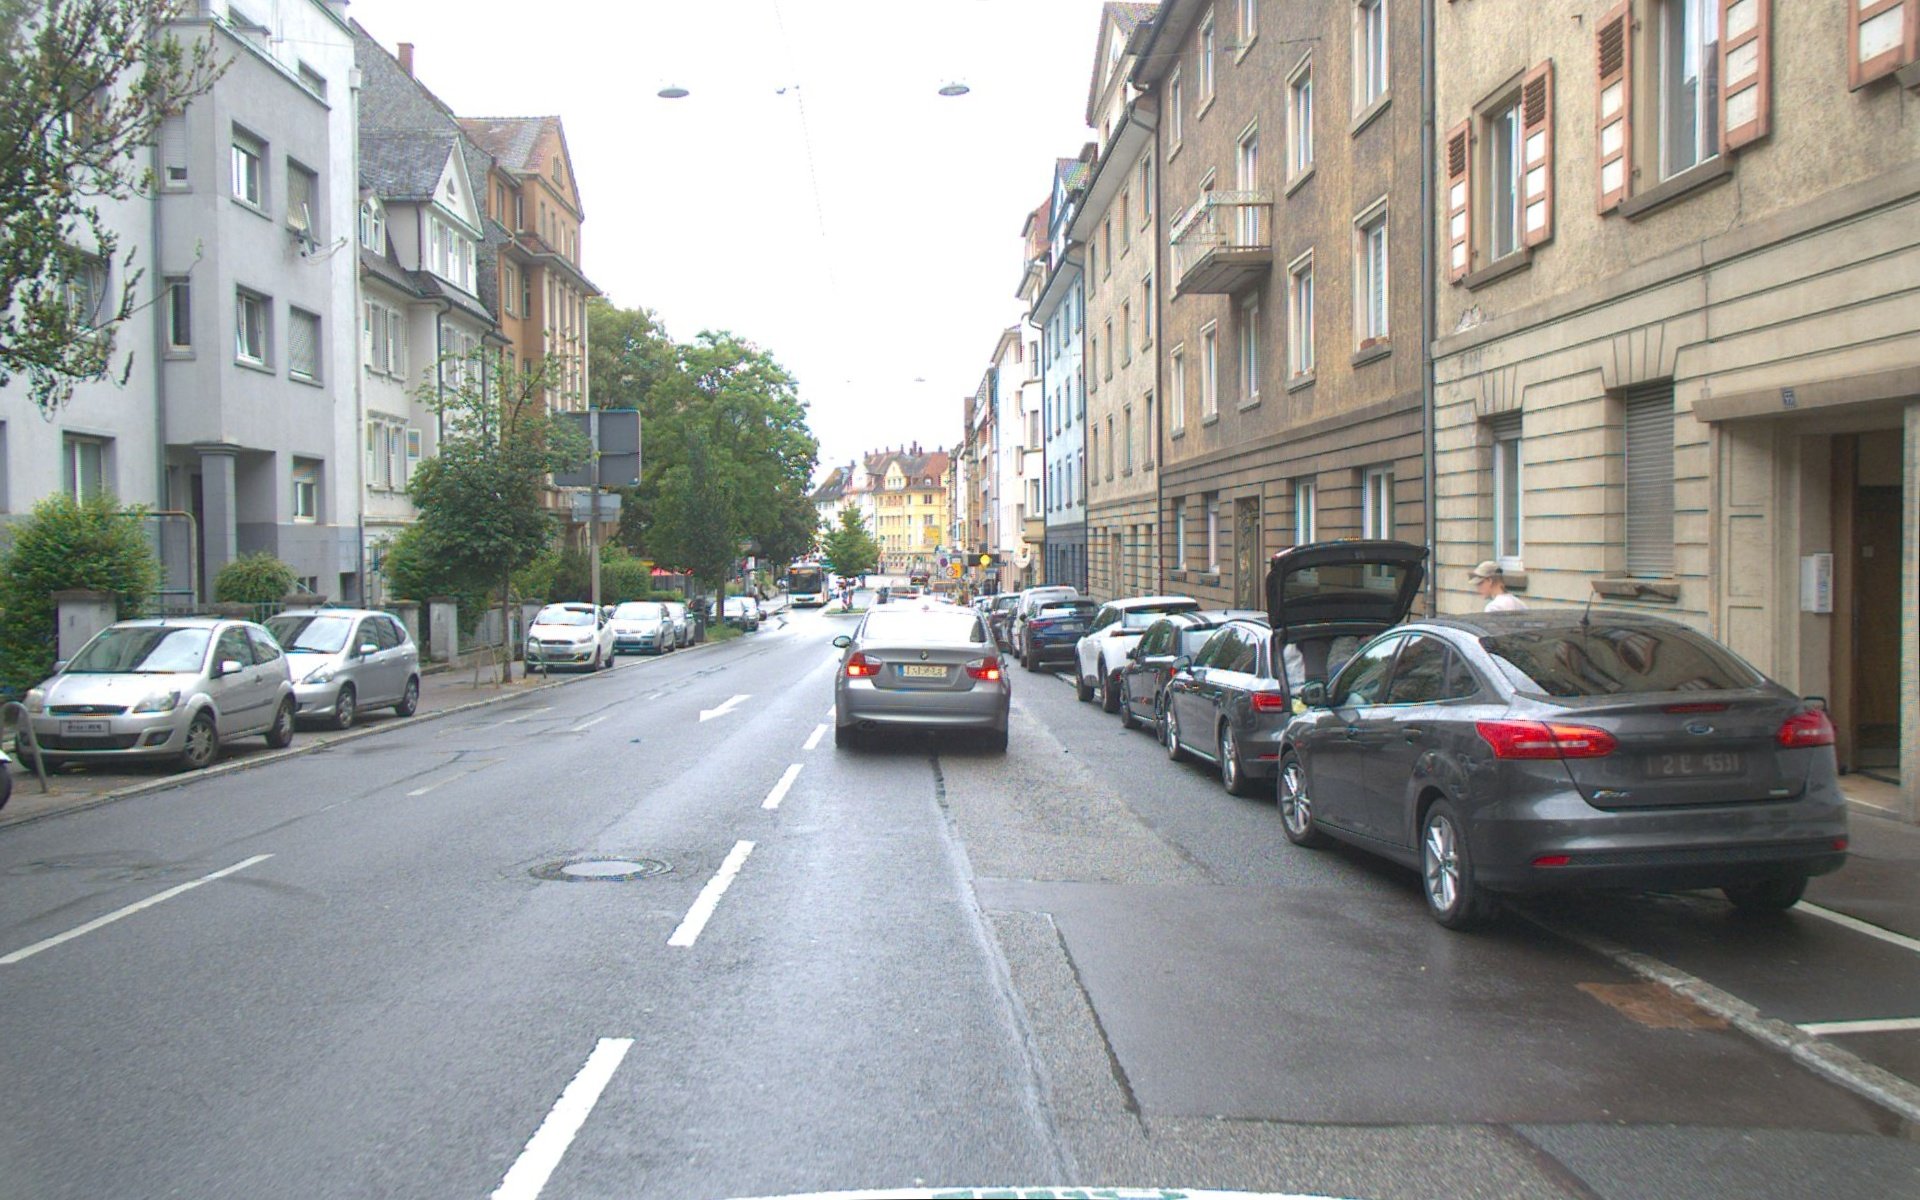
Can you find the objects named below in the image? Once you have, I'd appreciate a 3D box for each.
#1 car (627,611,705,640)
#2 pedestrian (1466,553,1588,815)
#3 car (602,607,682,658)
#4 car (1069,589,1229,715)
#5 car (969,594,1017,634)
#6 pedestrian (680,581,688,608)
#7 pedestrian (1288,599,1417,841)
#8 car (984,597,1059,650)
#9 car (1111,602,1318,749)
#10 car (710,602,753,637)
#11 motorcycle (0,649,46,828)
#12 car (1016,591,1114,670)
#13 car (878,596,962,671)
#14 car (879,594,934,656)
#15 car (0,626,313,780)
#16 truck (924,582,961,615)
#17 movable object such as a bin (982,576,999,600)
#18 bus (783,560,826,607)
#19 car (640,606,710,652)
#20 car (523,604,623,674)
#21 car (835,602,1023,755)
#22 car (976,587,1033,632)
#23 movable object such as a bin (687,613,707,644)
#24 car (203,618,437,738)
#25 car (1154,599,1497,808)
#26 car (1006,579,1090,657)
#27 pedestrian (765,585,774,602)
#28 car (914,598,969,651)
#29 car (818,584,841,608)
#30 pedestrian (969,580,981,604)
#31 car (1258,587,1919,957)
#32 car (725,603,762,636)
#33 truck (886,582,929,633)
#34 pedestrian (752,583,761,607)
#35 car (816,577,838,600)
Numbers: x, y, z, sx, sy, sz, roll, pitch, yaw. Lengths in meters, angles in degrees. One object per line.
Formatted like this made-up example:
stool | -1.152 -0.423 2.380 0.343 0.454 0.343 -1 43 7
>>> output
car | -15.151 1.318 85.375 3.740 1.414 1.741 1 -1 -3
pedestrian | 4.105 0.598 11.953 0.697 1.818 0.686 -3 -1 23
car | -9.221 0.911 48.235 1.648 1.414 3.908 0 0 -2
car | 2.716 0.717 24.633 1.600 1.667 4.192 2 0 -4
car | 1.380 0.595 70.700 1.781 1.585 4.291 -2 0 -2
pedestrian | -19.139 -0.392 114.664 0.456 1.821 0.543 2 -1 -9
pedestrian | 2.977 0.896 12.589 0.618 1.719 0.635 -7 -1 -1
car | 1.798 0.674 49.482 1.804 1.433 4.385 -3 0 -3
car | 2.881 0.812 19.441 1.600 1.504 3.732 2 0 -4
car | -10.128 0.827 73.464 1.621 1.479 3.939 -1 0 -4
motorcycle | -8.015 1.074 13.115 1.777 1.338 0.738 -1 0 40
car | 2.257 0.632 36.517 1.754 1.575 4.224 -2 0 -2
car | -0.880 0.686 34.795 1.570 1.445 3.285 2 -1 -4
car | -1.905 0.877 57.992 1.671 2.049 3.996 2 -1 -4
car | -8.277 0.990 17.403 1.569 1.421 3.885 0 -1 -3
truck | -1.205 -0.094 114.142 2.172 2.153 4.648 3 -1 -4
movable object such as a bin | 2.238 -0.895 121.359 1.100 1.732 1.432 -1 -1 -5
bus | -11.881 -1.197 127.045 2.628 3.256 11.947 2 -1 -3
car | -9.291 0.922 54.210 1.649 1.414 3.934 -2 0 -2
car | -8.842 0.875 38.040 1.613 1.534 3.793 0 -1 -3
car | -0.343 0.745 16.846 1.720 1.386 3.163 1 -1 -2
car | 1.548 0.323 59.130 1.695 1.454 3.972 -3 0 -2
movable object such as a bin | -9.424 1.020 59.258 0.617 1.076 0.600 -1 -1 -2
car | -8.550 0.992 22.458 1.567 1.476 3.888 0 -1 2
car | 2.966 0.784 14.481 1.742 1.505 4.584 -1 -1 -3
car | 2.238 0.443 42.872 1.755 1.849 4.078 -2 0 -2
pedestrian | -15.781 -0.553 137.090 0.607 1.402 0.544 2 -1 -1
car | -0.514 0.685 46.029 1.406 1.380 3.761 2 -1 -1
car | -11.670 -0.325 147.785 1.954 2.049 3.997 1 -1 -3
pedestrian | 1.087 -0.563 120.593 0.734 1.690 0.755 2 -1 6
car | 3.045 0.738 9.040 1.743 1.505 4.185 -1 -1 -5
car | -10.187 0.917 77.974 1.600 1.479 3.835 0 0 -6
truck | -2.887 0.424 89.683 2.172 2.589 4.777 2 -1 -3
pedestrian | -14.895 -0.342 121.060 0.533 1.739 0.465 2 -1 -9
car | -13.120 -1.117 163.109 1.954 2.049 3.997 2 -1 -3
